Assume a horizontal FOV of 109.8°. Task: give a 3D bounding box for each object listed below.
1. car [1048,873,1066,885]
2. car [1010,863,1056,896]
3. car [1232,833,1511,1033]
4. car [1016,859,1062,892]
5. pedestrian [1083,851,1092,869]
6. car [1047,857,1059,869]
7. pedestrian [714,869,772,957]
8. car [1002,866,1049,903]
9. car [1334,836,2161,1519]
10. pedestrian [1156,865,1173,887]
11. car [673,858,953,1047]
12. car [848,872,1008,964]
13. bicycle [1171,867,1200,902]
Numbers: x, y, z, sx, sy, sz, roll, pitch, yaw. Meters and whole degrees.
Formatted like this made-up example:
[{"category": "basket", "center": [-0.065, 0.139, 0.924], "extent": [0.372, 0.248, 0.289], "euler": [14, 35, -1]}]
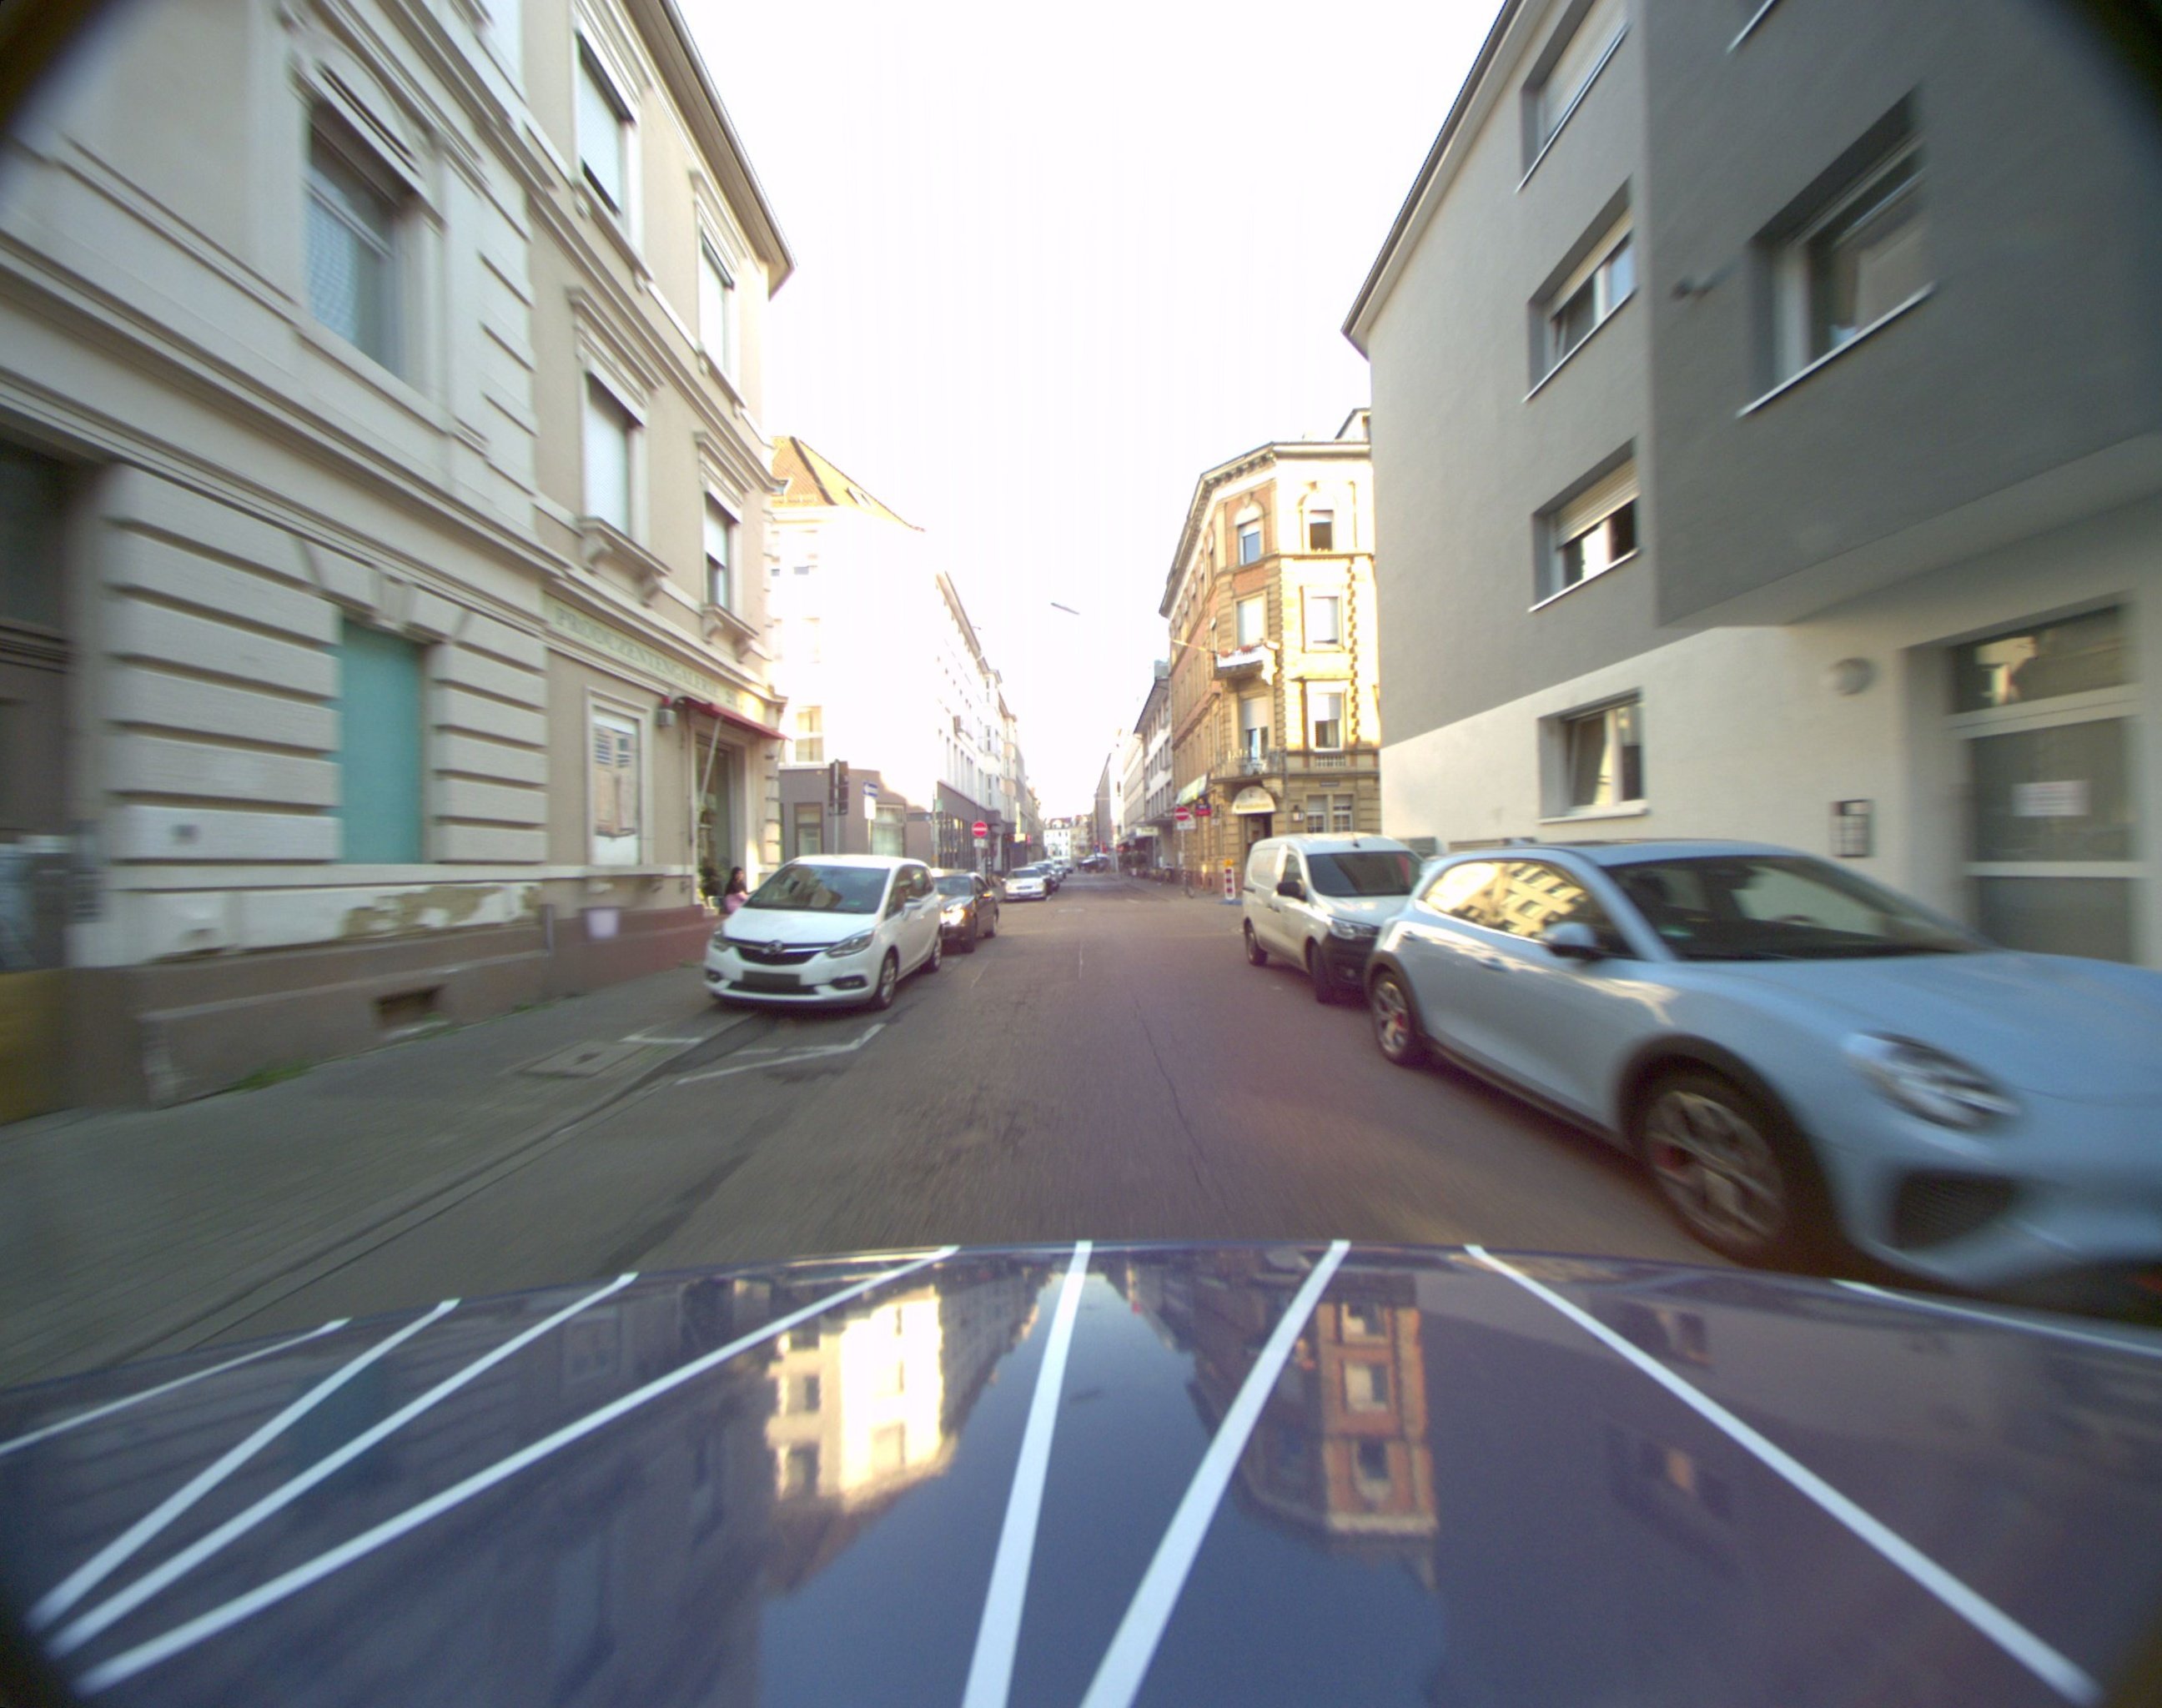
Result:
[{"category": "car", "center": [-2.218, 2.283, 70.009], "extent": [1.514, 1.053, 3.467], "euler": [-1, -1, 0]}, {"category": "car", "center": [-2.342, 1.214, 37.915], "extent": [2.013, 1.515, 4.118], "euler": [-1, -1, 0]}, {"category": "car", "center": [3.091, 0.755, 9.090], "extent": [1.635, 1.803, 4.185], "euler": [-1, -1, -1]}, {"category": "car", "center": [-2.340, 1.223, 43.662], "extent": [2.335, 1.734, 4.488], "euler": [-1, -1, 0]}, {"category": "pedestrian", "center": [0.936, 0.936, 114.707], "extent": [1.247, 2.599, 1.467], "euler": [-1, 0, -1]}, {"category": "car", "center": [-4.857, 1.493, 131.479], "extent": [1.999, 2.002, 3.999], "euler": [-1, 0, -2]}, {"category": "pedestrian", "center": [-5.802, 1.001, 13.071], "extent": [0.716, 1.463, 0.580], "euler": [-1, 0, 0]}, {"category": "car", "center": [-2.292, 1.232, 32.347], "extent": [1.755, 1.393, 4.488], "euler": [-3, -1, -2]}, {"category": "car", "center": [3.097, 0.780, 3.990], "extent": [1.768, 1.554, 4.365], "euler": [-1, -1, -4]}, {"category": "pedestrian", "center": [5.090, 1.346, 46.416], "extent": [0.836, 1.331, 0.806], "euler": [-1, 0, 20]}, {"category": "car", "center": [-2.874, 0.952, 9.326], "extent": [1.821, 1.713, 4.462], "euler": [-1, -1, 0]}, {"category": "car", "center": [-2.705, 1.087, 14.635], "extent": [1.888, 1.400, 4.731], "euler": [-1, -1, 3]}, {"category": "bicycle", "center": [4.086, 1.176, 29.863], "extent": [0.660, 1.268, 1.763], "euler": [-5, 0, -4]}]
